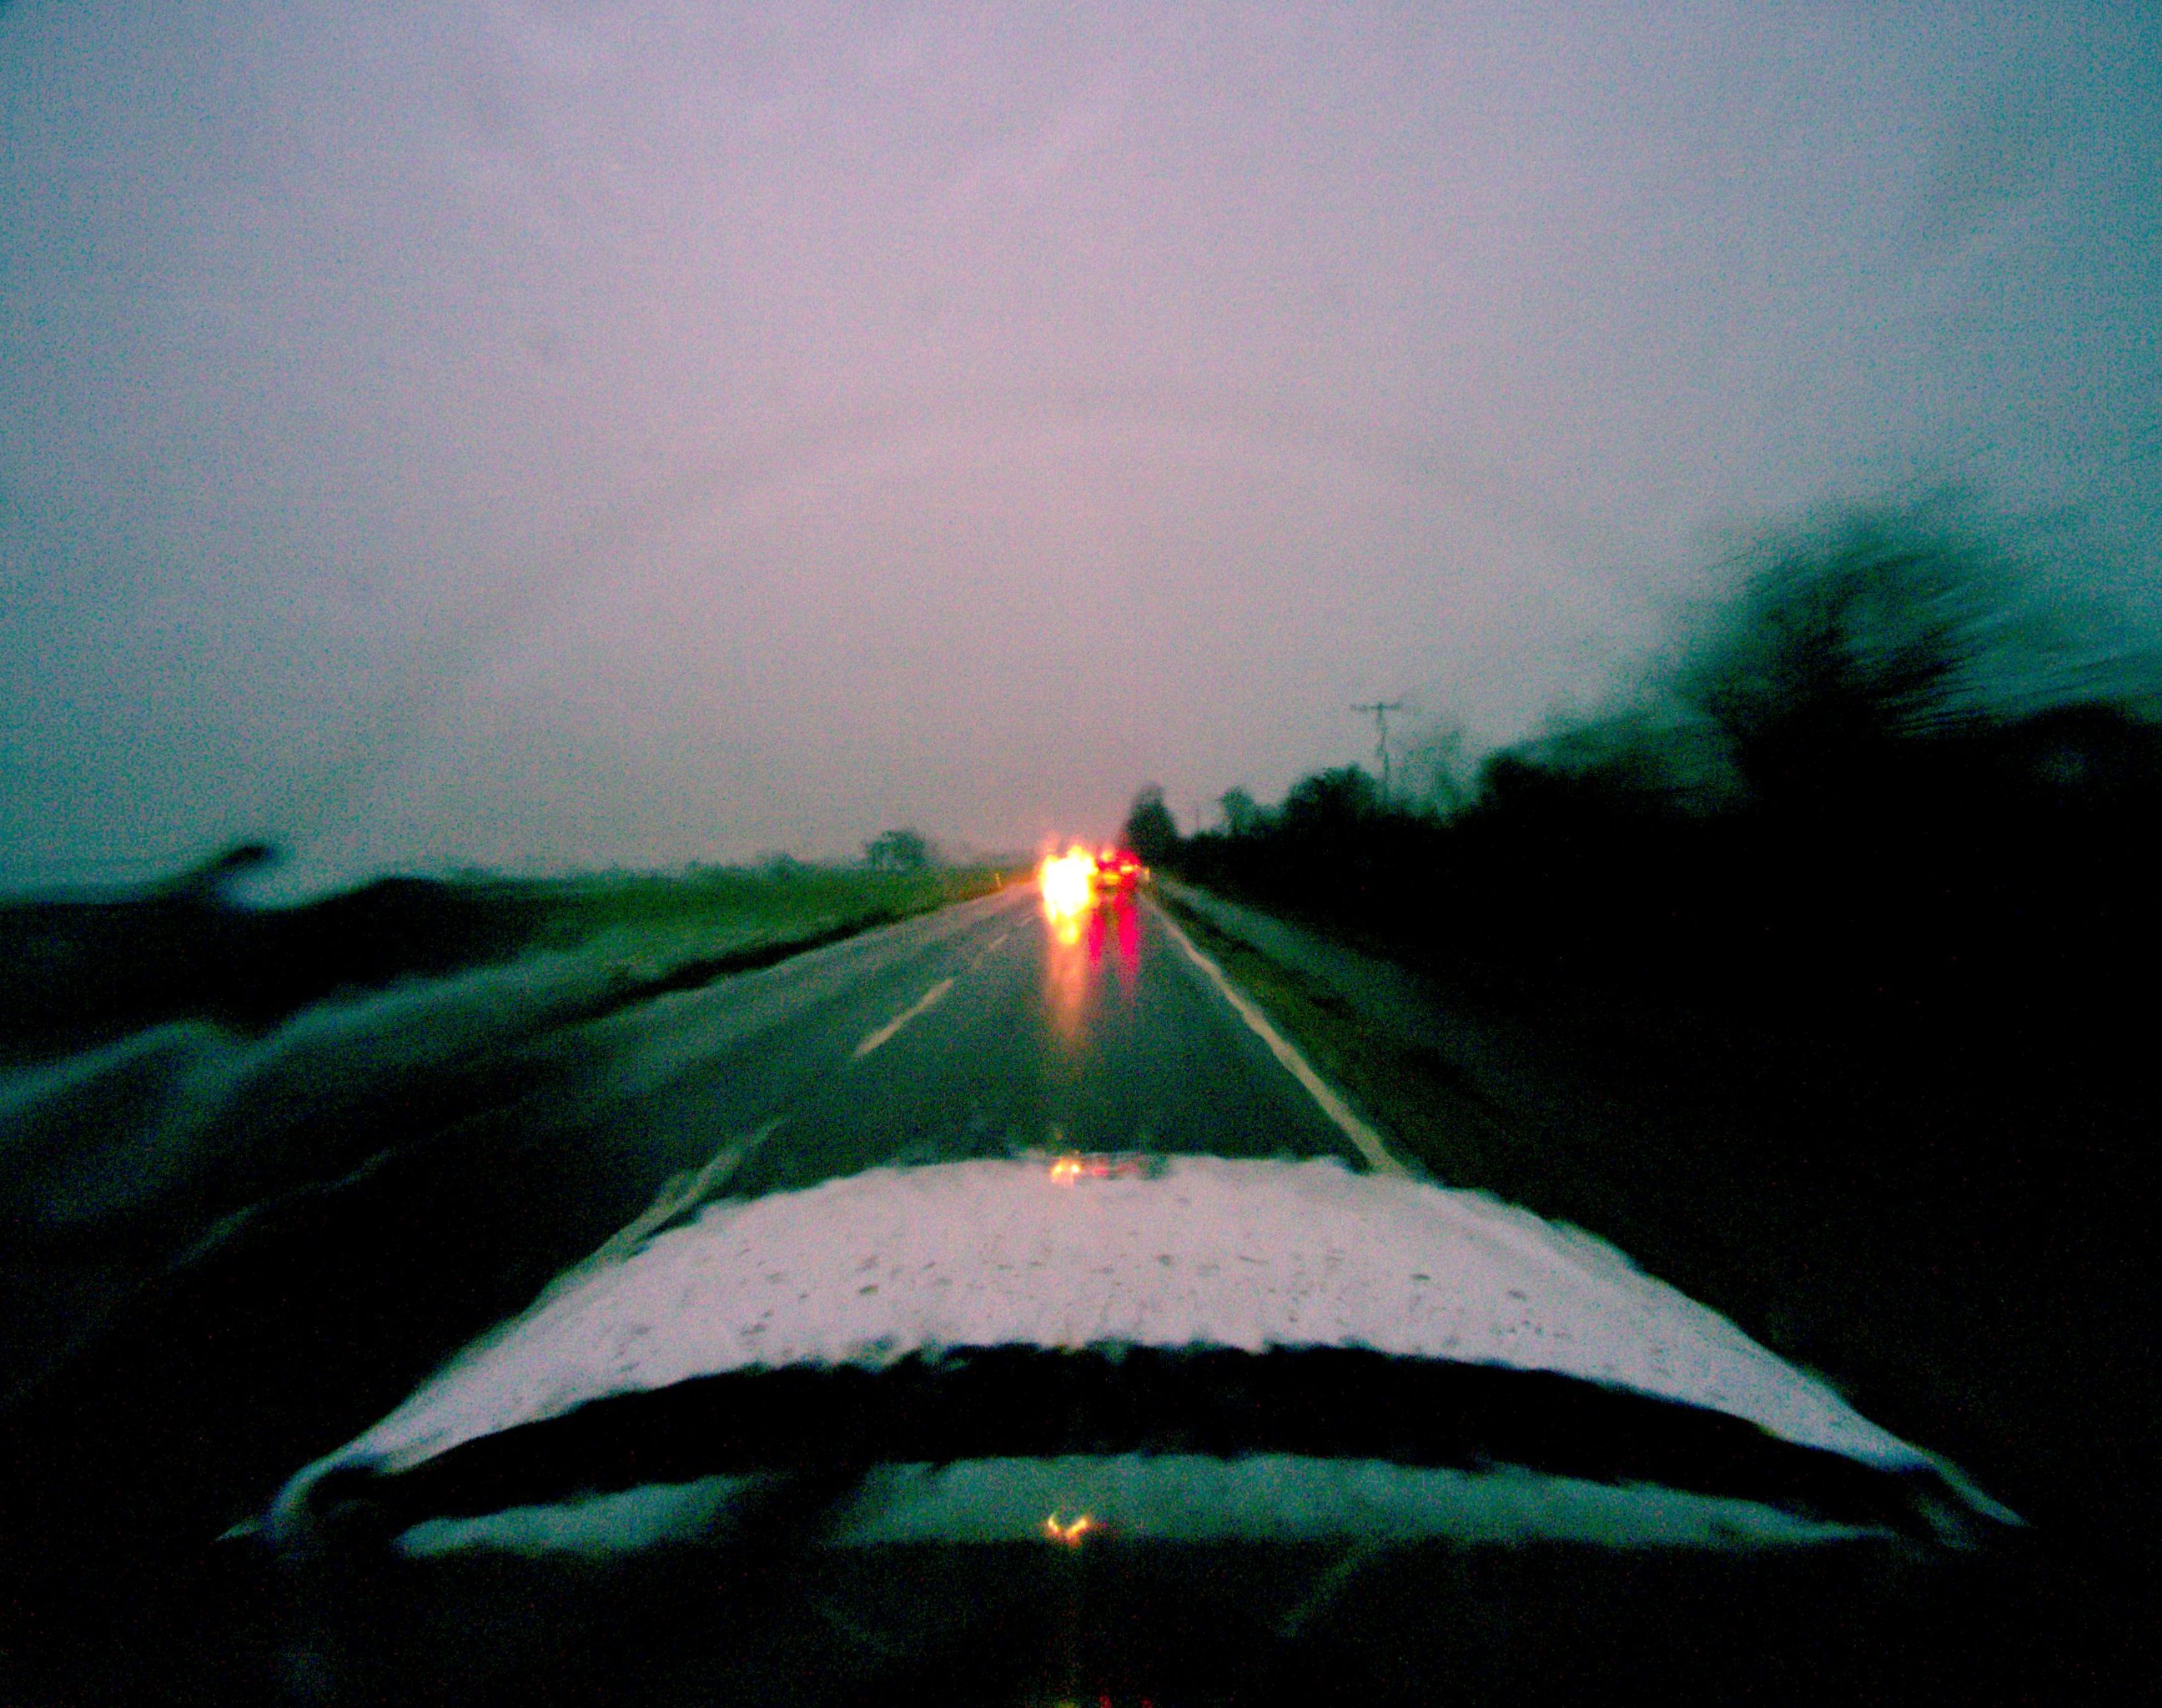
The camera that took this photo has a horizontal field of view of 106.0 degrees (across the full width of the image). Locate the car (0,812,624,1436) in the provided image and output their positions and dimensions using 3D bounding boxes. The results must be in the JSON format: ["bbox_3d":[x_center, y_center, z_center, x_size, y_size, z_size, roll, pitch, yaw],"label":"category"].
[{"bbox_3d":[-3.824,0.769,2.996,1.789,1.686,4.187,-2,0,1],"label":"car"}]

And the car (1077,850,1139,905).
[{"bbox_3d":[1.014,0.853,30.238,2.112,1.820,4.982,-1,-1,2],"label":"car"}]

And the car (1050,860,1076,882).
[{"bbox_3d":[-1.433,1.345,65.600,1.815,1.561,3.657,-2,0,2],"label":"car"}]
